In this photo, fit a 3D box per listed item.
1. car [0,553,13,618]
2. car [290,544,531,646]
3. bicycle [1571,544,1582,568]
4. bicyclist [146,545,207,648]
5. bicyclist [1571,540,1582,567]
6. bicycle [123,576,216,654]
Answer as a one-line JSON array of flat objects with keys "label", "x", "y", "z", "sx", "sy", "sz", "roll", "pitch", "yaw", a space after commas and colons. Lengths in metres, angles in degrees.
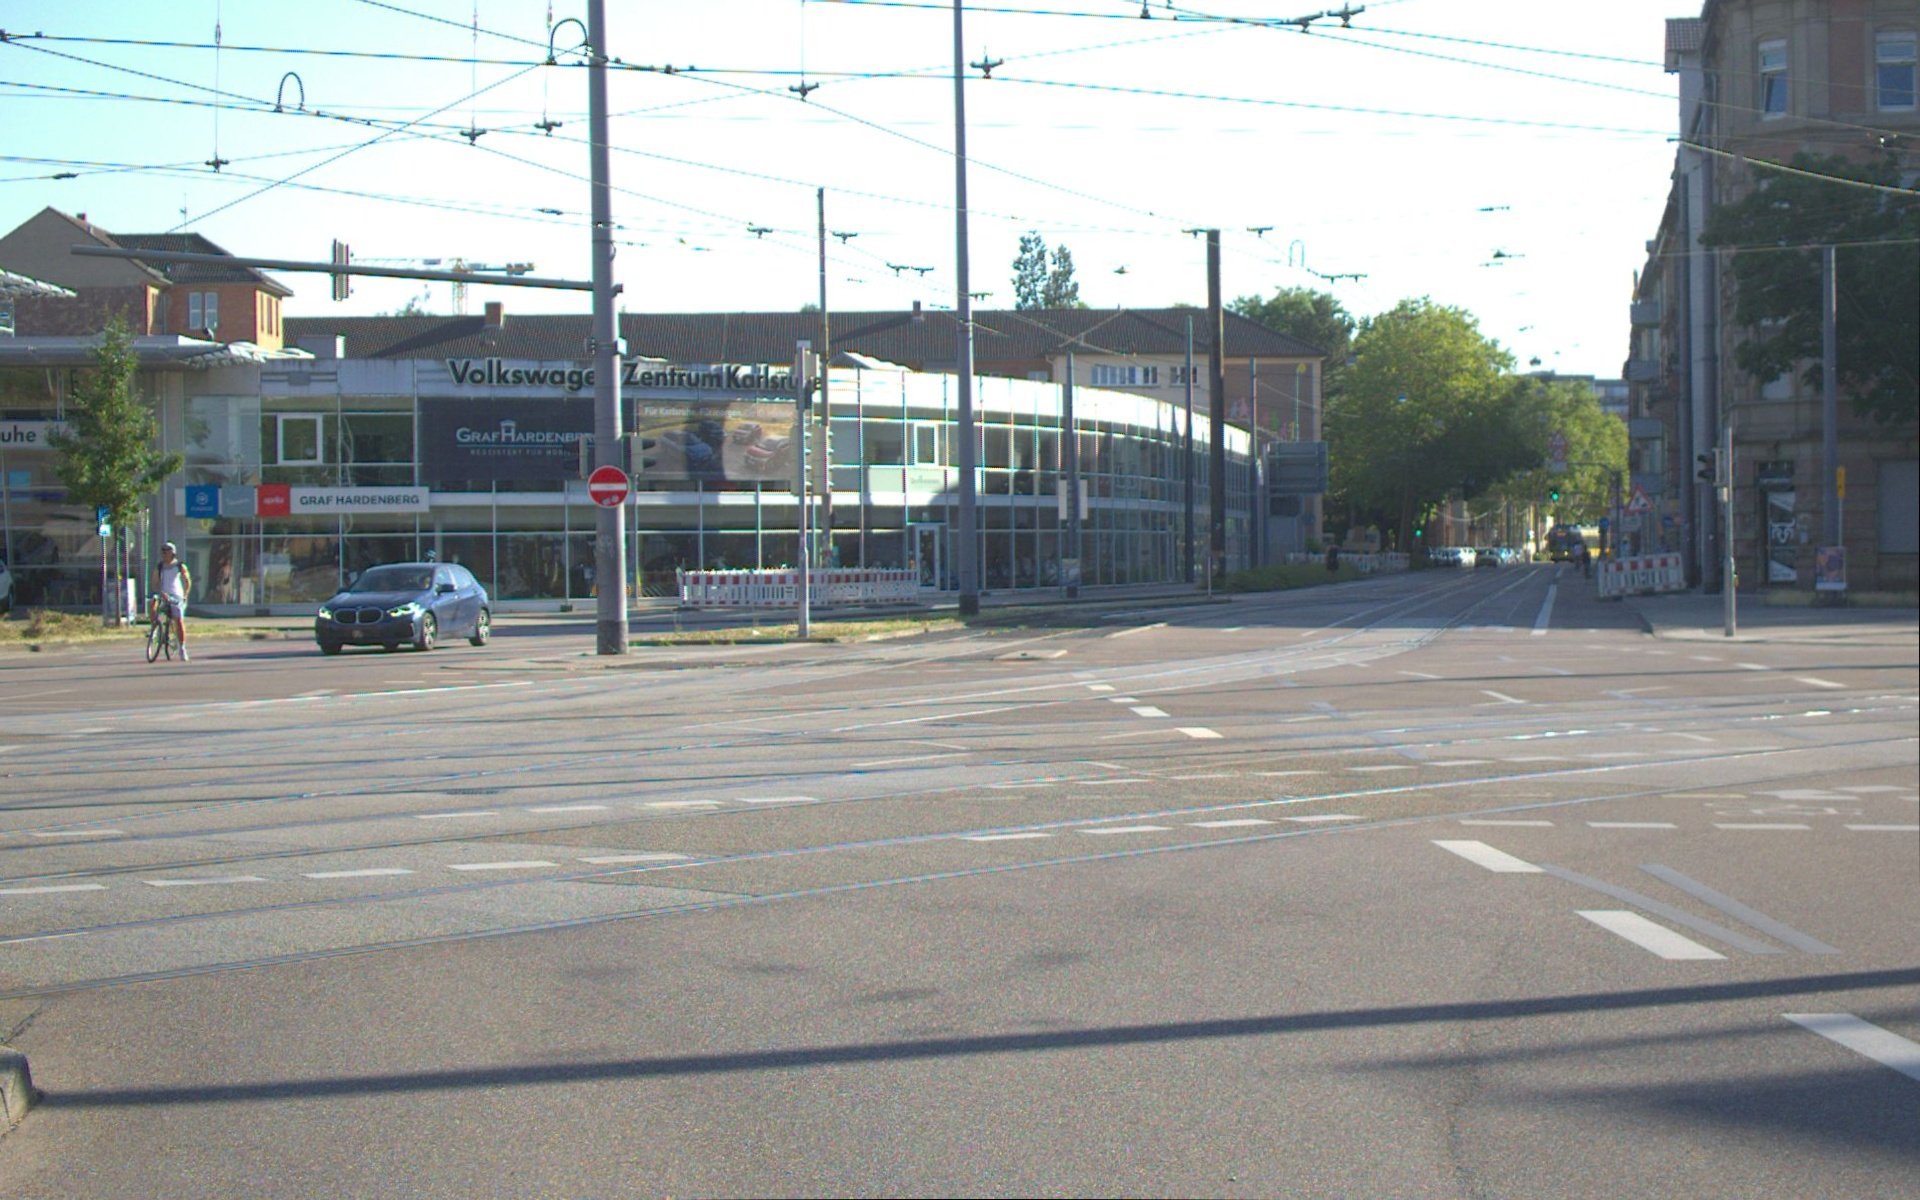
[{"label": "car", "x": -26.992, "y": -0.413, "z": 93.001, "sx": 1.993, "sy": 1.744, "sz": 4.001, "roll": 1, "pitch": 0, "yaw": -6}, {"label": "car", "x": -8.910, "y": -0.073, "z": 56.096, "sx": 1.996, "sy": 1.579, "sz": 3.995, "roll": 1, "pitch": 0, "yaw": 24}, {"label": "bicycle", "x": 25.711, "y": -1.831, "z": 143.384, "sx": 0.410, "sy": 0.938, "sz": 1.844, "roll": 1, "pitch": 0, "yaw": 10}, {"label": "bicyclist", "x": -12.375, "y": -0.059, "z": 54.330, "sx": 0.598, "sy": 1.610, "sz": 0.822, "roll": 1, "pitch": 0, "yaw": 15}, {"label": "bicyclist", "x": 25.746, "y": -1.924, "z": 143.578, "sx": 0.408, "sy": 1.112, "sz": 0.399, "roll": 1, "pitch": 0, "yaw": 9}, {"label": "bicycle", "x": -12.432, "y": 0.235, "z": 54.113, "sx": 0.613, "sy": 1.185, "sz": 1.868, "roll": 1, "pitch": 0, "yaw": 15}]
